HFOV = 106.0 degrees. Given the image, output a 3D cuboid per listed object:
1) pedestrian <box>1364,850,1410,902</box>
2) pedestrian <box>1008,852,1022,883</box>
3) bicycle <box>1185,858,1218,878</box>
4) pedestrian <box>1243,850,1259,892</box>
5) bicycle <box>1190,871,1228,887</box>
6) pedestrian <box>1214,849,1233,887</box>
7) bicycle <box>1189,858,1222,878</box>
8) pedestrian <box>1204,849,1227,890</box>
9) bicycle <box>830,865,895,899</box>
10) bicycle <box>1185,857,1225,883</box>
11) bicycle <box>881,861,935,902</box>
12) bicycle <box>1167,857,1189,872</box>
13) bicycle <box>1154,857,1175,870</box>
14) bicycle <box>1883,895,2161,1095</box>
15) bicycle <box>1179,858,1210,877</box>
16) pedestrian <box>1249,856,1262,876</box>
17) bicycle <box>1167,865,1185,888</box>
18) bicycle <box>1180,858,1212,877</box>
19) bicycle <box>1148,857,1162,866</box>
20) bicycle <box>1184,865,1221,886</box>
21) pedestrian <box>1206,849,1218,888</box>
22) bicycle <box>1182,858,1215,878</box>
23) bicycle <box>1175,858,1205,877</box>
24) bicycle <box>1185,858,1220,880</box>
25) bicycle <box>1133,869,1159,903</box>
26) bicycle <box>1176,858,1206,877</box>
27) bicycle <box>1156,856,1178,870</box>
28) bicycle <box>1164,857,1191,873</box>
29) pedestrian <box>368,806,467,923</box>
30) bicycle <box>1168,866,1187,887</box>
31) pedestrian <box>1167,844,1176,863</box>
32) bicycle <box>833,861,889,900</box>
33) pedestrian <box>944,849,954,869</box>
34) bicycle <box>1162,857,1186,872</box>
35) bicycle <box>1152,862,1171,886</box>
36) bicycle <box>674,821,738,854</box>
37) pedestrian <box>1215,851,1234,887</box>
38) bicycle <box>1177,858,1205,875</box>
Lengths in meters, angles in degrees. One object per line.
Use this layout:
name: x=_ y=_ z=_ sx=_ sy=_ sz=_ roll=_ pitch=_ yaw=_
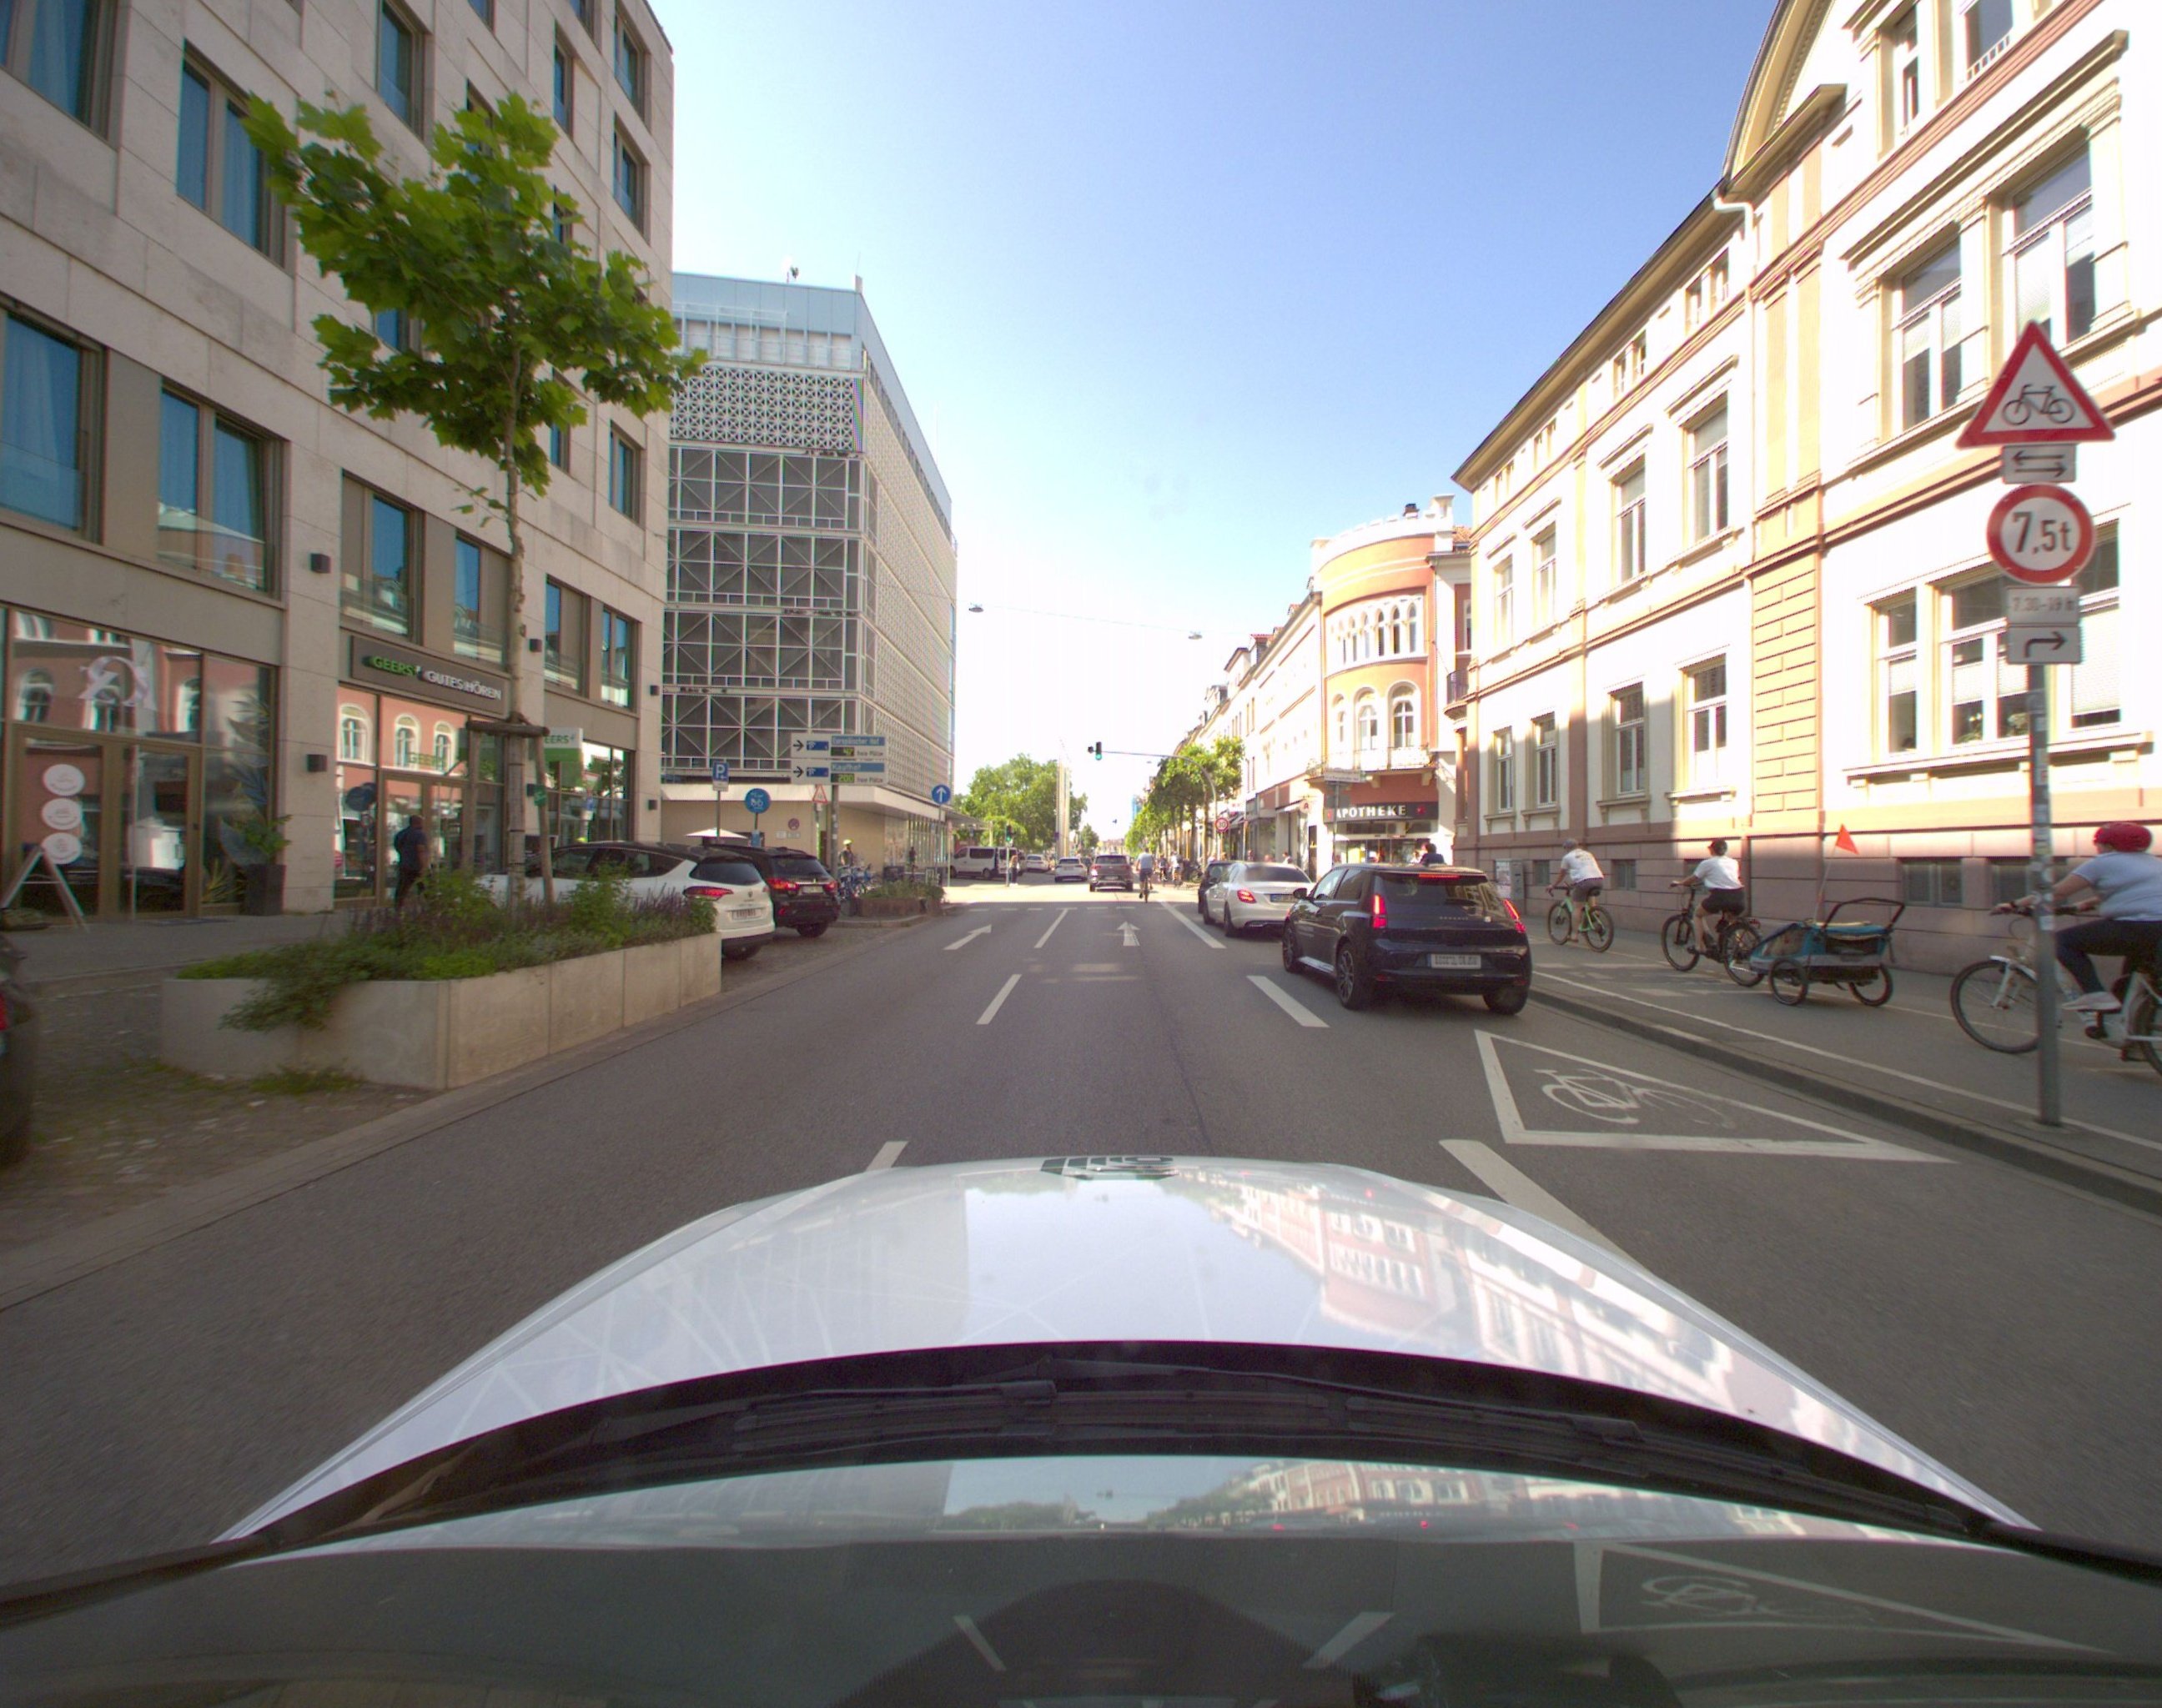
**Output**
pedestrian: x=9.671 y=0.713 z=25.794 sx=0.902 sy=1.612 sz=0.970 roll=-1 pitch=-3 yaw=-17
pedestrian: x=-3.361 y=0.699 z=41.566 sx=0.639 sy=1.559 sz=0.679 roll=2 pitch=0 yaw=-10
bicycle: x=6.894 y=0.801 z=46.537 sx=1.832 sy=1.127 sz=0.667 roll=0 pitch=-1 yaw=3
pedestrian: x=7.610 y=0.755 z=36.490 sx=0.634 sy=1.843 sz=0.617 roll=2 pitch=-1 yaw=14
bicycle: x=6.717 y=1.304 z=42.851 sx=1.142 sy=0.434 sz=1.842 roll=-10 pitch=-5 yaw=-24
pedestrian: x=6.871 y=0.676 z=39.347 sx=0.785 sy=1.795 sz=0.641 roll=2 pitch=0 yaw=-1
bicycle: x=7.255 y=0.808 z=47.498 sx=1.832 sy=1.127 sz=0.667 roll=0 pitch=-1 yaw=3
pedestrian: x=5.890 y=0.675 z=35.709 sx=0.638 sy=1.709 sz=0.789 roll=-8 pitch=-3 yaw=-2
bicycle: x=-7.447 y=0.941 z=27.743 sx=1.975 sy=1.127 sz=0.801 roll=0 pitch=0 yaw=8
bicycle: x=6.245 y=0.789 z=40.936 sx=1.833 sy=1.188 sz=0.721 roll=4 pitch=3 yaw=40
bicycle: x=-5.267 y=0.828 z=24.774 sx=0.608 sy=1.173 sz=2.039 roll=2 pitch=-1 yaw=-43
bicycle: x=7.993 y=0.851 z=67.065 sx=1.783 sy=1.197 sz=0.573 roll=1 pitch=-1 yaw=-26
bicycle: x=7.634 y=0.851 z=74.508 sx=1.827 sy=1.127 sz=0.499 roll=2 pitch=-1 yaw=13
bicycle: x=7.107 y=0.920 z=5.859 sx=0.732 sy=1.127 sz=2.035 roll=-2 pitch=0 yaw=3
bicycle: x=6.839 y=0.815 z=49.163 sx=1.832 sy=1.127 sz=0.667 roll=0 pitch=-1 yaw=3
pedestrian: x=11.072 y=0.781 z=51.690 sx=0.637 sy=1.253 sz=0.608 roll=-2 pitch=-1 yaw=-1
bicycle: x=4.334 y=1.031 z=37.379 sx=0.628 sy=0.980 sz=2.089 roll=0 pitch=0 yaw=2
bicycle: x=6.779 y=0.819 z=48.117 sx=1.832 sy=1.127 sz=0.644 roll=0 pitch=-1 yaw=3
bicycle: x=8.876 y=0.895 z=97.308 sx=1.641 sy=1.095 sz=0.607 roll=1 pitch=0 yaw=4
bicycle: x=6.516 y=1.165 z=43.659 sx=1.842 sy=0.397 sz=1.019 roll=8 pitch=-35 yaw=6
pedestrian: x=6.118 y=0.682 z=38.017 sx=0.451 sy=1.795 sz=0.608 roll=2 pitch=0 yaw=0
bicycle: x=6.592 y=0.795 z=45.771 sx=1.829 sy=1.127 sz=0.668 roll=0 pitch=-1 yaw=9
bicycle: x=6.766 y=0.843 z=50.672 sx=1.832 sy=1.127 sz=0.530 roll=0 pitch=-2 yaw=3
bicycle: x=6.617 y=0.807 z=44.461 sx=1.826 sy=1.127 sz=0.347 roll=2 pitch=1 yaw=17
bicycle: x=2.113 y=1.015 z=26.622 sx=0.771 sy=1.006 sz=2.331 roll=0 pitch=0 yaw=2
bicycle: x=6.745 y=0.837 z=49.978 sx=1.832 sy=1.127 sz=0.667 roll=0 pitch=-1 yaw=3
bicycle: x=7.758 y=0.807 z=73.438 sx=1.829 sy=1.197 sz=0.675 roll=1 pitch=-1 yaw=9
bicycle: x=7.241 y=0.844 z=60.961 sx=1.839 sy=1.127 sz=0.630 roll=3 pitch=-1 yaw=-9
pedestrian: x=-11.217 y=0.173 z=13.802 sx=0.835 sy=1.879 sz=0.845 roll=4 pitch=-1 yaw=2
bicycle: x=4.728 y=1.102 z=39.977 sx=0.598 sy=0.926 sz=2.086 roll=2 pitch=1 yaw=-2
pedestrian: x=8.026 y=-0.034 z=72.480 sx=0.637 sy=1.689 sz=0.843 roll=3 pitch=0 yaw=-1
bicycle: x=-6.842 y=0.820 z=25.278 sx=2.038 sy=1.169 sz=0.609 roll=-1 pitch=-1 yaw=38
pedestrian: x=-10.130 y=0.393 z=62.316 sx=0.677 sy=1.559 sz=0.640 roll=0 pitch=0 yaw=-3
bicycle: x=7.451 y=0.858 z=65.413 sx=1.837 sy=1.127 sz=0.496 roll=2 pitch=1 yaw=-6
bicycle: x=3.967 y=0.985 z=40.233 sx=0.696 sy=1.127 sz=2.080 roll=2 pitch=0 yaw=-1
bicycle: x=-14.961 y=-0.662 z=32.562 sx=2.212 sy=1.267 sz=0.731 roll=-2 pitch=1 yaw=-21
pedestrian: x=6.792 y=0.689 z=38.606 sx=0.785 sy=1.690 sz=0.641 roll=0 pitch=0 yaw=-1
bicycle: x=7.389 y=0.829 z=54.641 sx=1.831 sy=1.127 sz=0.449 roll=0 pitch=-2 yaw=4
